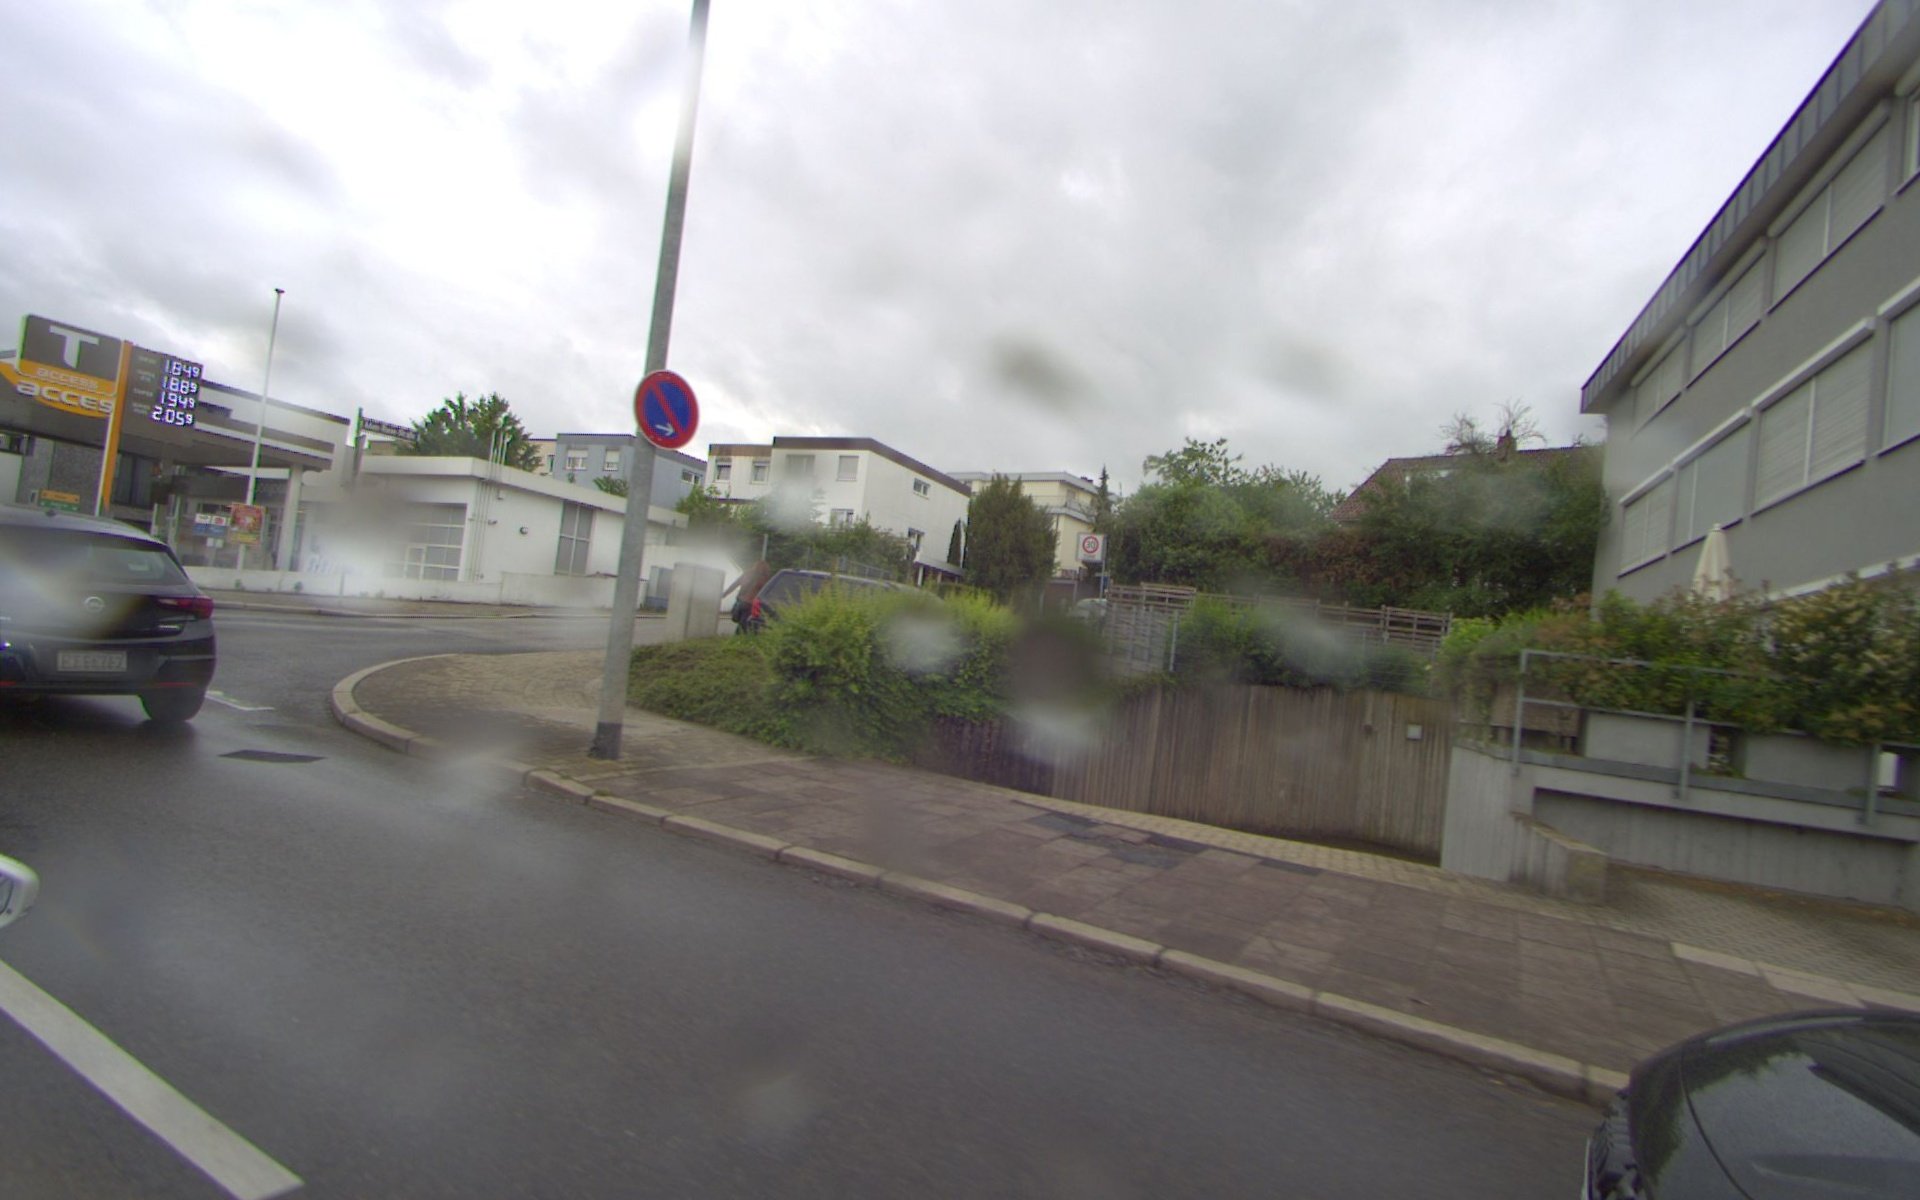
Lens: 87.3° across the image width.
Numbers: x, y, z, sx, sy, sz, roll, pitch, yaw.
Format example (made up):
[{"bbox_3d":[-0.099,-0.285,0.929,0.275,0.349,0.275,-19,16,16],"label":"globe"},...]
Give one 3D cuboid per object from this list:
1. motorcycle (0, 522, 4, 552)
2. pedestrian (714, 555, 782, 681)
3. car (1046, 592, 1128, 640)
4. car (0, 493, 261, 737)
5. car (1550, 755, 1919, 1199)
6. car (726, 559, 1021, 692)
[{"bbox_3d":[-27.464,-1.703,28.224,1.367,1.067,0.463,4,-3,30],"label":"motorcycle"},{"bbox_3d":[-3.591,0.309,17.046,0.606,2.036,0.715,4,-3,39],"label":"pedestrian"},{"bbox_3d":[5.088,0.663,39.793,1.964,1.493,3.997,6,-1,25],"label":"car"},{"bbox_3d":[-7.278,-0.032,7.447,3.931,1.466,1.761,6,-3,29],"label":"car"},{"bbox_3d":[3.176,1.185,0.756,4.662,1.440,1.870,4,-4,32],"label":"car"},{"bbox_3d":[-1.289,0.345,15.100,3.927,1.547,1.814,5,1,22],"label":"car"}]
